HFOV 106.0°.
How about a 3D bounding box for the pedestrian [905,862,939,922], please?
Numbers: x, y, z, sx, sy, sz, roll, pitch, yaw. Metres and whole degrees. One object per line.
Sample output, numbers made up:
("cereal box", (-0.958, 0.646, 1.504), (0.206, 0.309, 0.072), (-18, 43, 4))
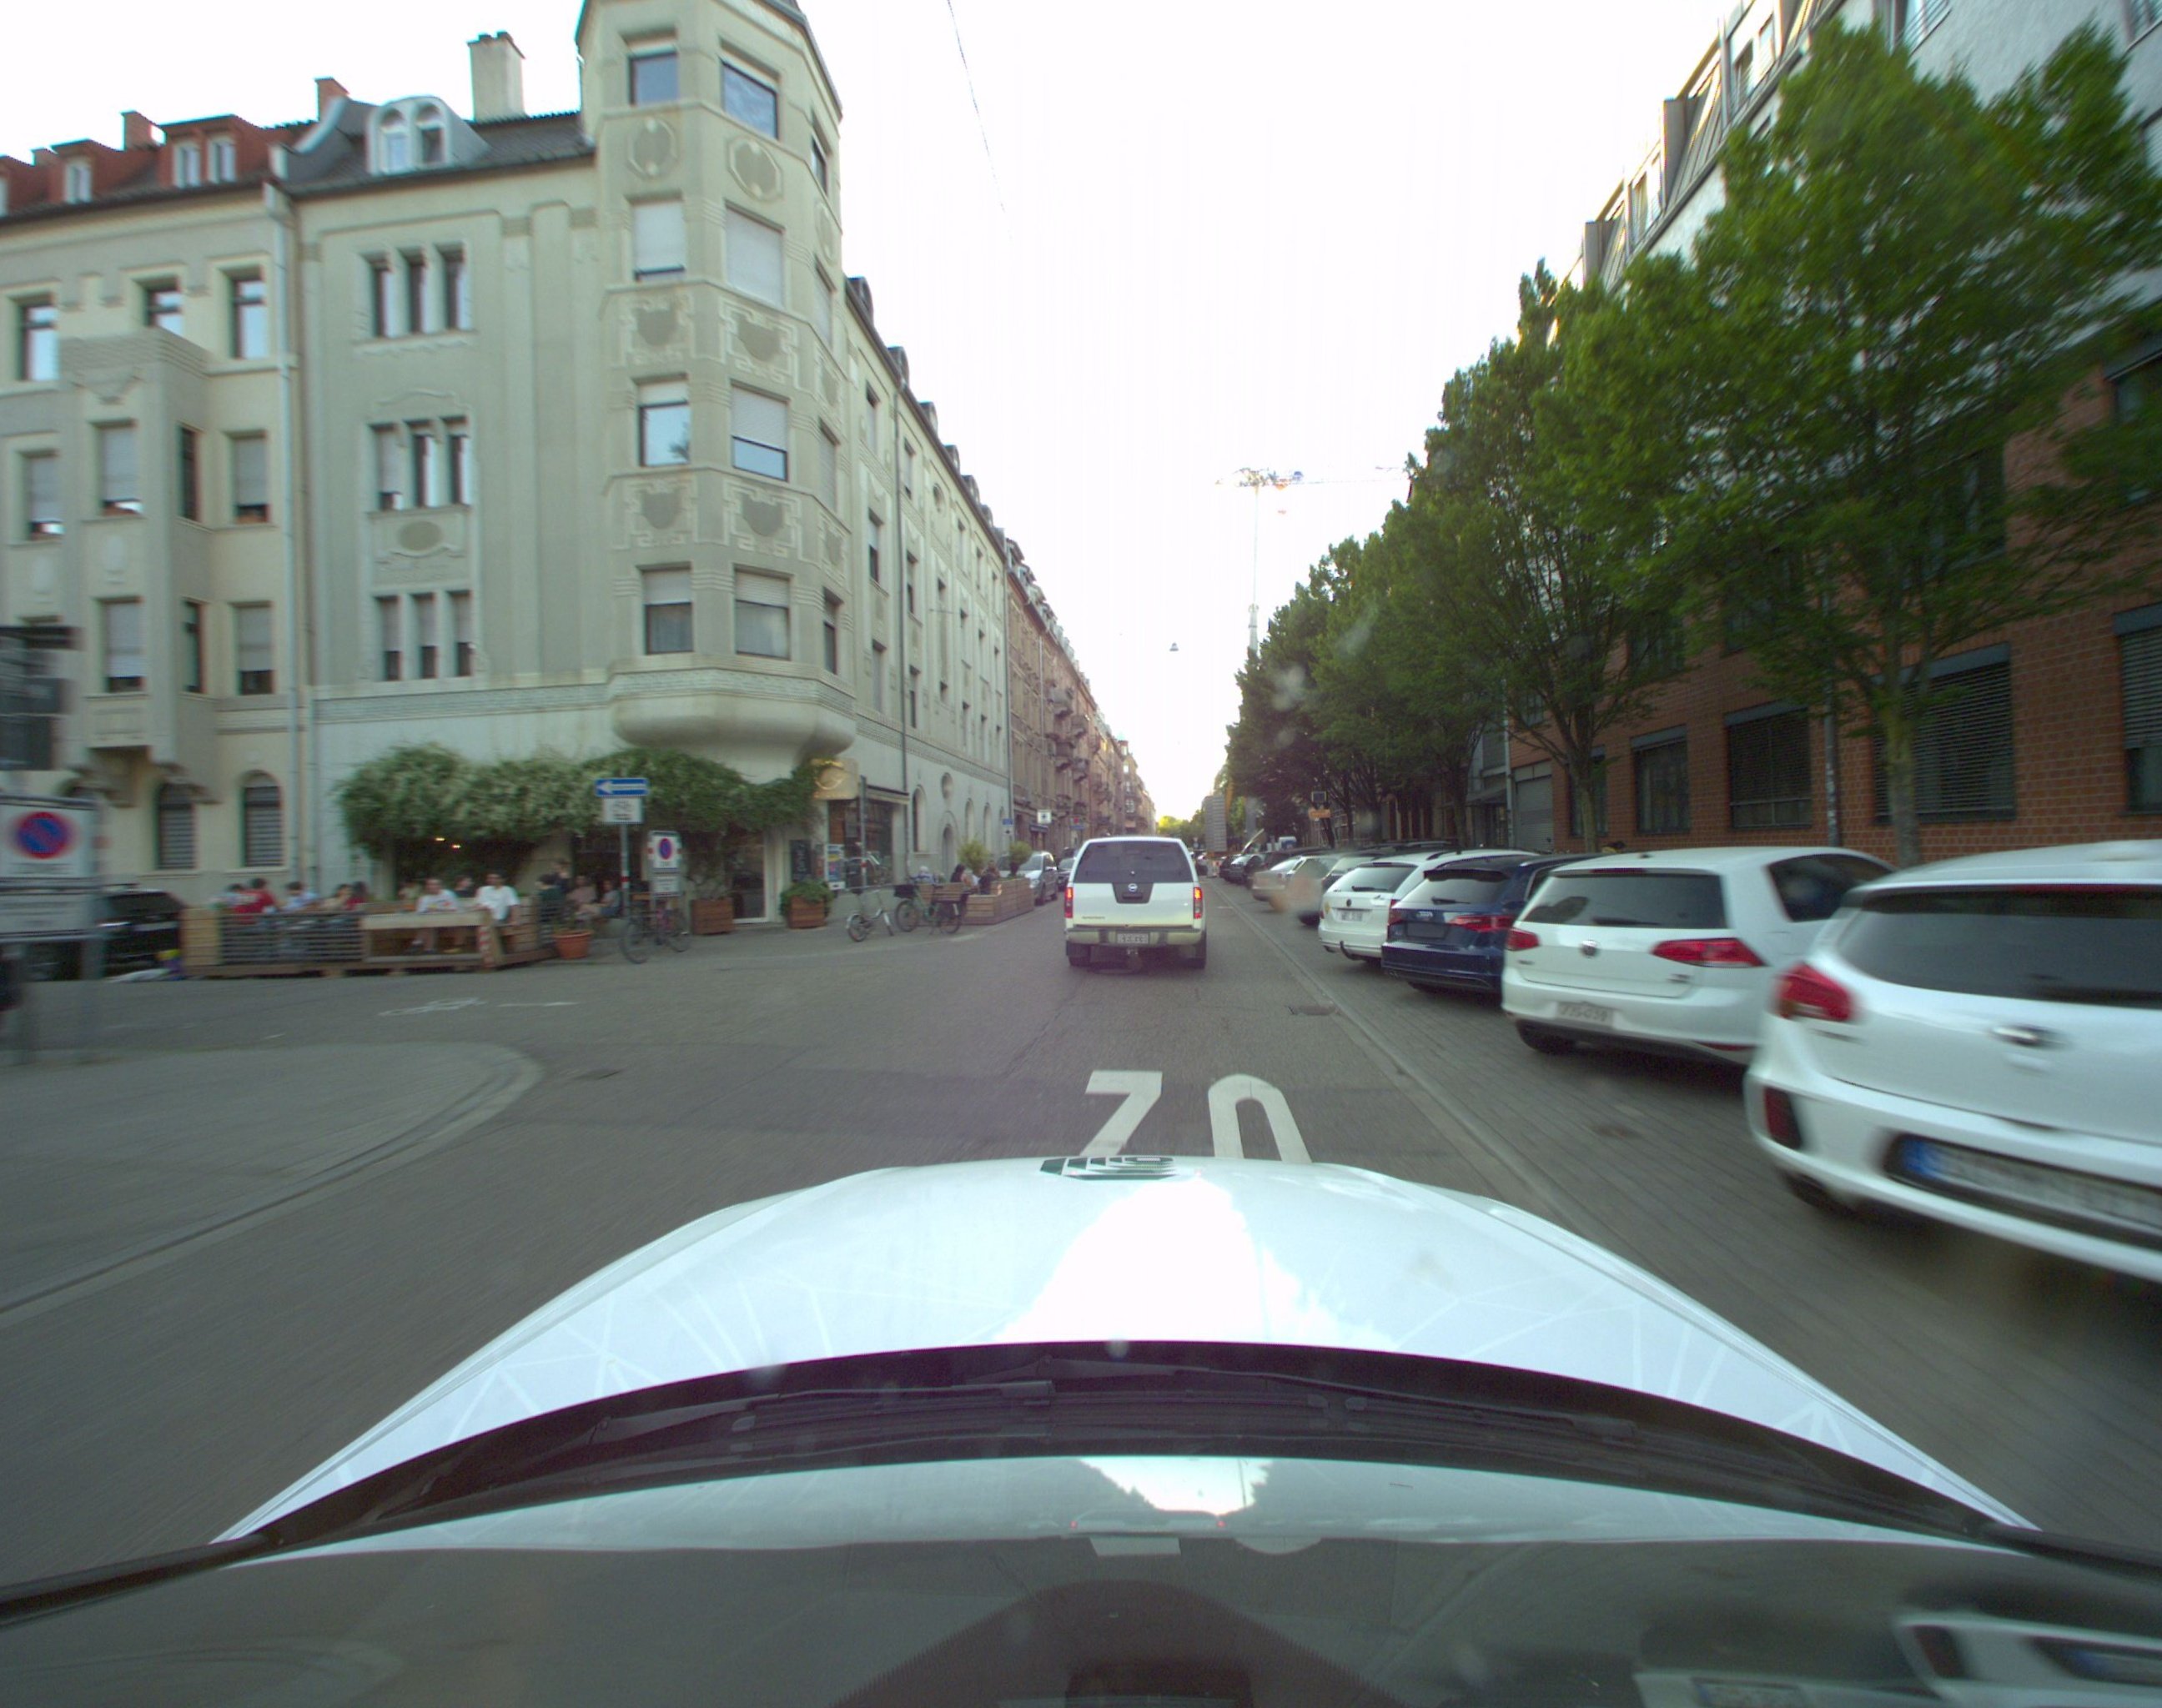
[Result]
("pedestrian", (-3.583, 0.854, 18.430), (0.534, 1.324, 0.706), (-1, 0, 7))

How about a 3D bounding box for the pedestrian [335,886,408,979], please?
("pedestrian", (-11.412, 1.249, 13.113), (0.568, 1.411, 0.646), (-2, 0, 7))

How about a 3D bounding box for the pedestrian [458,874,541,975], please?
("pedestrian", (-9.391, 1.116, 13.172), (0.698, 1.540, 0.785), (-2, 0, 5))

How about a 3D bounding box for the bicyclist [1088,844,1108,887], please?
("bicyclist", (0.685, 0.456, 32.629), (0.599, 1.685, 1.145), (-2, 0, 7))

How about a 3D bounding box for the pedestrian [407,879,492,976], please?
("pedestrian", (-10.170, 1.162, 13.143), (0.698, 1.469, 0.785), (-2, 0, 5))

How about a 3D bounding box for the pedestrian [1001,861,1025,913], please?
("pedestrian", (-1.785, 0.859, 21.449), (0.481, 1.350, 0.670), (-1, 0, 5))

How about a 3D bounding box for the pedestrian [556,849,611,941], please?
("pedestrian", (-9.247, 0.746, 15.155), (0.611, 1.675, 0.569), (-1, 0, 4))

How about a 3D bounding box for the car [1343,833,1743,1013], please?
("car", (5.026, 0.621, 8.852), (4.006, 1.523, 1.696), (-2, -2, -24))

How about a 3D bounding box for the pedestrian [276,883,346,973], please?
("pedestrian", (-13.464, 1.270, 14.253), (0.569, 1.501, 0.645), (-2, 0, 5))

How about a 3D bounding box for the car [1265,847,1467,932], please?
("car", (5.784, 0.664, 16.587), (3.607, 1.482, 1.710), (-2, 0, -21))

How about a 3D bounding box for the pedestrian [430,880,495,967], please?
("pedestrian", (-10.724, 1.191, 14.138), (0.568, 1.443, 0.646), (-2, 0, 7))

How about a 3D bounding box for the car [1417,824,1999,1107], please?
("car", (4.735, 0.603, 6.125), (4.008, 1.473, 1.859), (-2, -2, -27))

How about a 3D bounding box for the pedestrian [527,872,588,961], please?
("pedestrian", (-9.094, 1.072, 14.163), (0.569, 1.469, 0.645), (-2, 0, 5))

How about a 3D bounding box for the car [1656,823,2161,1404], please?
("car", (4.505, 0.628, 3.237), (4.004, 1.506, 1.757), (-2, 0, -23))

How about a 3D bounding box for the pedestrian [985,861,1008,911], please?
("pedestrian", (-2.322, 0.860, 22.323), (0.514, 1.350, 0.541), (-1, 0, 4))

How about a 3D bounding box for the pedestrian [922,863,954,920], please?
("pedestrian", (-3.388, 0.879, 19.293), (0.534, 1.324, 0.706), (-1, 0, 7))

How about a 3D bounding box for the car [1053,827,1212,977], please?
("car", (0.909, 0.568, 12.220), (1.923, 1.794, 4.631), (1, 0, 7))

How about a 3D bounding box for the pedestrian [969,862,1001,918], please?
("pedestrian", (-2.368, 0.870, 20.055), (0.606, 1.324, 0.772), (-1, 0, 5))

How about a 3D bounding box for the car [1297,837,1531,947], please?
("car", (5.661, 0.574, 13.824), (3.613, 1.580, 1.701), (-2, 0, -27))

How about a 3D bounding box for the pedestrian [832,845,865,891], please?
("pedestrian", (-5.984, 0.347, 21.017), (0.554, 1.154, 0.749), (-1, 0, 6))

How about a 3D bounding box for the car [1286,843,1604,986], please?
("car", (4.890, 0.686, 10.898), (4.006, 1.537, 1.623), (-2, 0, -24))

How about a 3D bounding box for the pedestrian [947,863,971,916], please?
("pedestrian", (-3.156, 0.911, 21.055), (0.466, 1.350, 0.612), (-1, 0, 5))

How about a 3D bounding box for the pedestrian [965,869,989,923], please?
("pedestrian", (-2.672, 1.067, 20.888), (0.466, 1.350, 0.612), (-1, 0, 5))

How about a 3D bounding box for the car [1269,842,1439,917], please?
("car", (6.373, 0.563, 19.039), (3.608, 1.534, 1.551), (-2, 0, -22))

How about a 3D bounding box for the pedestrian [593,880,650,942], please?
("pedestrian", (-9.647, 1.186, 17.122), (0.687, 1.214, 0.780), (-2, 0, 7))

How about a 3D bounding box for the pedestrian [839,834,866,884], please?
("pedestrian", (-6.296, 0.144, 22.480), (0.535, 1.350, 0.519), (-1, 0, 7))

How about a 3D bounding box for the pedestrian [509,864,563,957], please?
("pedestrian", (-9.870, 1.012, 14.749), (0.538, 1.621, 0.547), (-2, 0, 6))

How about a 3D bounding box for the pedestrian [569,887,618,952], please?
("pedestrian", (-9.480, 1.260, 15.858), (0.527, 1.214, 0.607), (-2, 0, 7))

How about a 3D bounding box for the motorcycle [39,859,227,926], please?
("motorcycle", (-20.047, 0.805, 17.234), (3.381, 1.280, 0.820), (-2, 0, 7))

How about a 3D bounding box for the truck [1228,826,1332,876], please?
("truck", (12.679, -0.139, 52.378), (6.285, 2.977, 2.269), (-1, -3, 8))

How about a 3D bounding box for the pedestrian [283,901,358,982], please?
("pedestrian", (-12.205, 1.391, 13.076), (0.639, 1.207, 0.574), (-2, 0, 6))
